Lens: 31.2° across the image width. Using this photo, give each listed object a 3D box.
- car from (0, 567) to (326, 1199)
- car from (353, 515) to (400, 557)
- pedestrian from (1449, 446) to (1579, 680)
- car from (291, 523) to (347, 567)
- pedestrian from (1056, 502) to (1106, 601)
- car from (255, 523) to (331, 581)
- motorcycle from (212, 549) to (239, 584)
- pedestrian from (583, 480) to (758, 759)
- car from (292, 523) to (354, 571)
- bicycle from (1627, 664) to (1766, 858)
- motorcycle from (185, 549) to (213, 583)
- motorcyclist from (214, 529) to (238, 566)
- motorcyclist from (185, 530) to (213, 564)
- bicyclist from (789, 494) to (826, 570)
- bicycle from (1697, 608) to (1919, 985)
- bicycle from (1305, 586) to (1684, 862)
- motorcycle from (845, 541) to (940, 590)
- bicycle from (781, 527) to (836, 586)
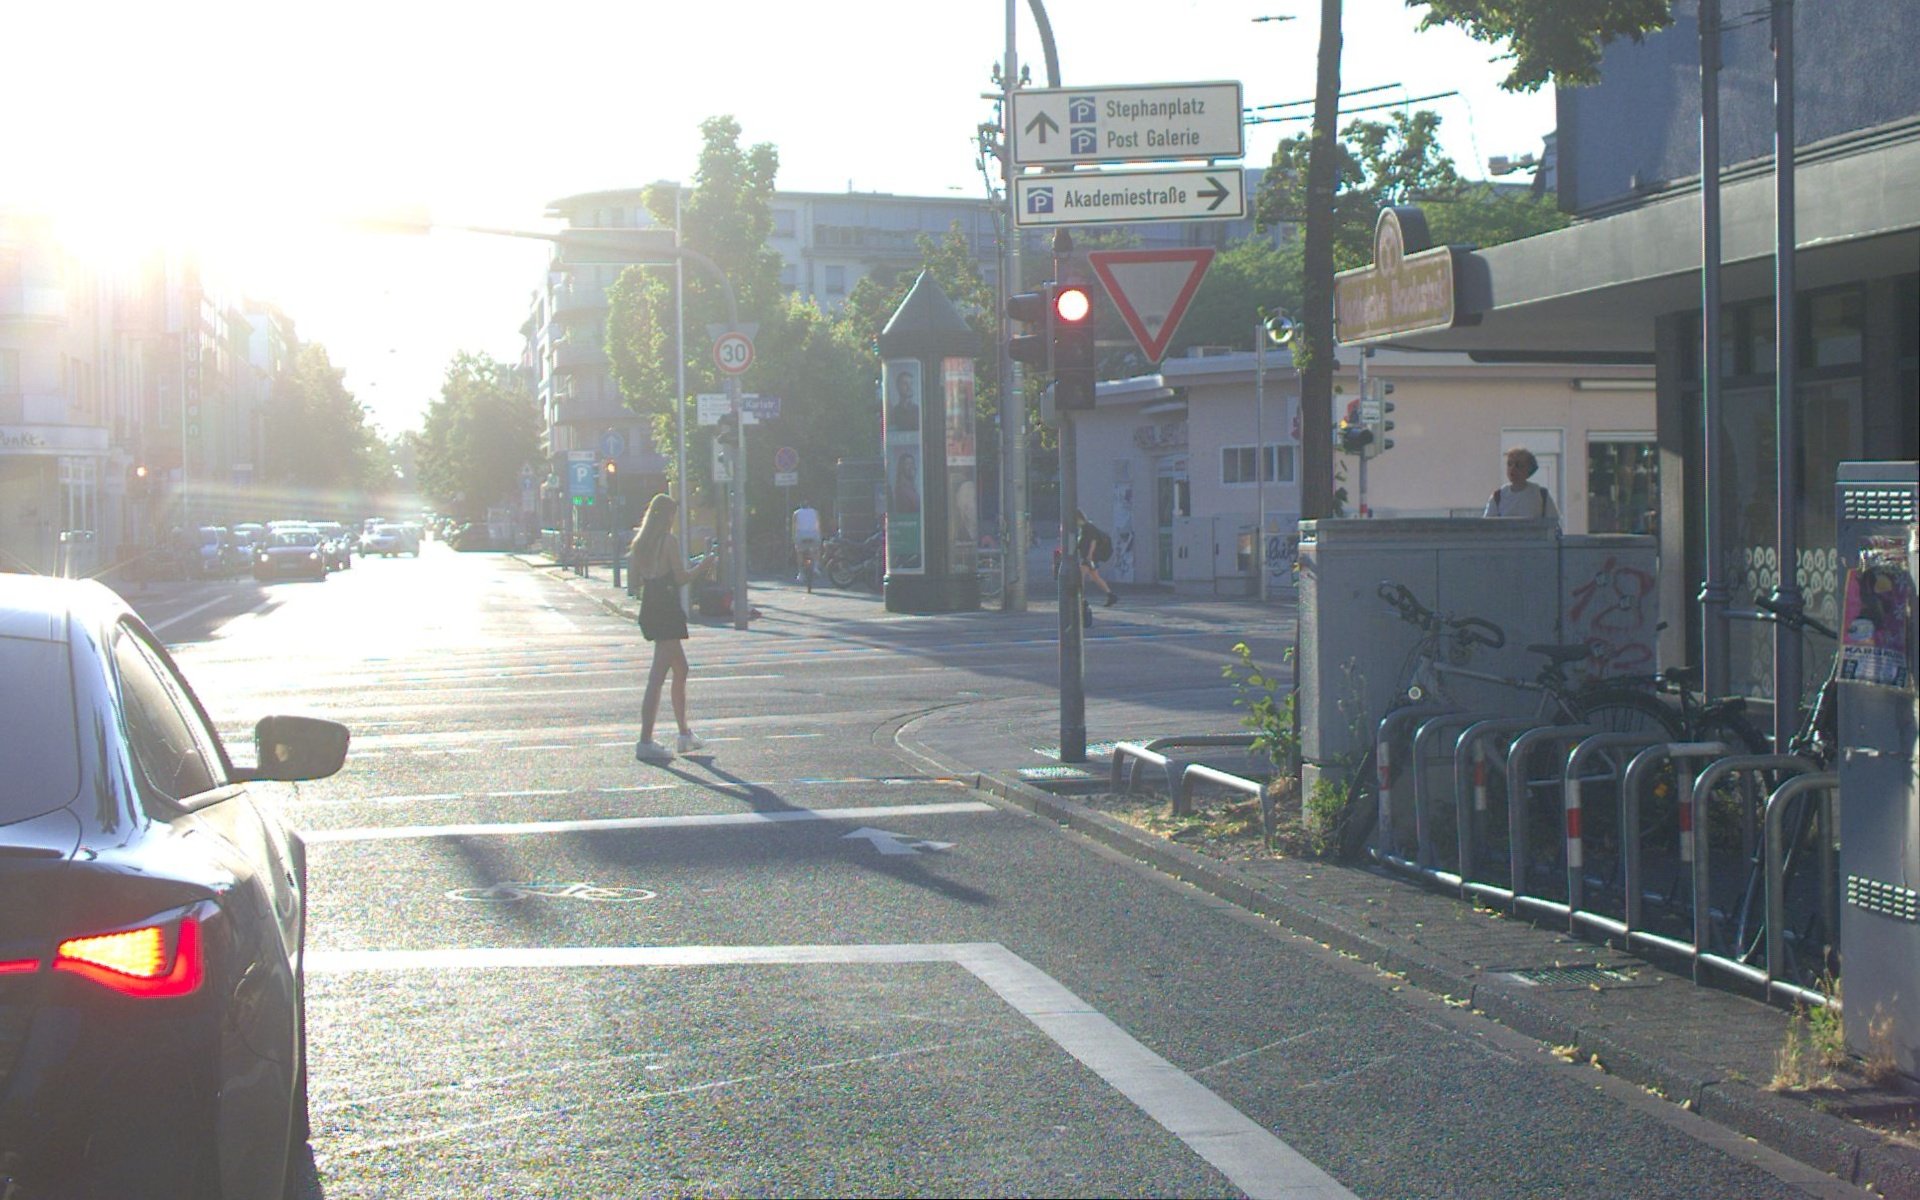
[{"bbox_3d":[-2.113,0.675,6.493,1.736,1.424,4.225,0,1,-10],"label":"car"},{"bbox_3d":[-26.219,-2.905,154.588,1.771,1.842,4.001,-1,2,-6],"label":"car"},{"bbox_3d":[4.429,-0.305,27.534,0.835,1.835,0.679,-1,1,-8],"label":"pedestrian"},{"bbox_3d":[-23.005,-2.001,123.486,1.817,1.514,4.001,-1,2,-8],"label":"car"},{"bbox_3d":[1.894,-0.757,53.794,0.733,1.524,0.472,1,1,6],"label":"pedestrian"},{"bbox_3d":[-18.344,-1.348,94.661,1.817,1.514,4.001,-1,2,-8],"label":"car"},{"bbox_3d":[-20.023,-0.915,93.759,0.575,0.912,2.201,1,1,-8],"label":"motorcycle"},{"bbox_3d":[-1.965,0.127,23.334,1.001,1.854,0.640,0,1,-28],"label":"pedestrian"},{"bbox_3d":[-20.910,-1.767,112.948,1.817,1.514,4.001,-1,2,-8],"label":"car"},{"bbox_3d":[3.288,0.706,15.407,0.249,0.793,1.116,1,1,-7],"label":"bicycle"},{"bbox_3d":[-20.838,-0.933,94.152,0.575,0.912,2.201,1,1,-8],"label":"motorcycle"},{"bbox_3d":[-19.993,-1.443,93.652,0.575,0.992,0.703,1,1,-8],"label":"motorcyclist"},{"bbox_3d":[-20.833,-1.463,94.164,0.575,0.912,2.201,1,1,-8],"label":"motorcyclist"},{"bbox_3d":[-3.005,-1.328,67.594,0.550,1.476,0.723,0,0,-17],"label":"bicyclist"},{"bbox_3d":[3.219,0.645,11.424,1.440,1.216,0.383,1,1,-7],"label":"bicycle"},{"bbox_3d":[2.354,0.537,15.160,1.612,1.167,0.318,-1,1,-6],"label":"bicycle"},{"bbox_3d":[-1.337,-0.684,67.876,1.668,0.935,0.856,-1,2,-19],"label":"motorcycle"},{"bbox_3d":[-2.988,-0.854,67.534,0.550,1.155,2.145,0,1,-17],"label":"bicycle"}]
